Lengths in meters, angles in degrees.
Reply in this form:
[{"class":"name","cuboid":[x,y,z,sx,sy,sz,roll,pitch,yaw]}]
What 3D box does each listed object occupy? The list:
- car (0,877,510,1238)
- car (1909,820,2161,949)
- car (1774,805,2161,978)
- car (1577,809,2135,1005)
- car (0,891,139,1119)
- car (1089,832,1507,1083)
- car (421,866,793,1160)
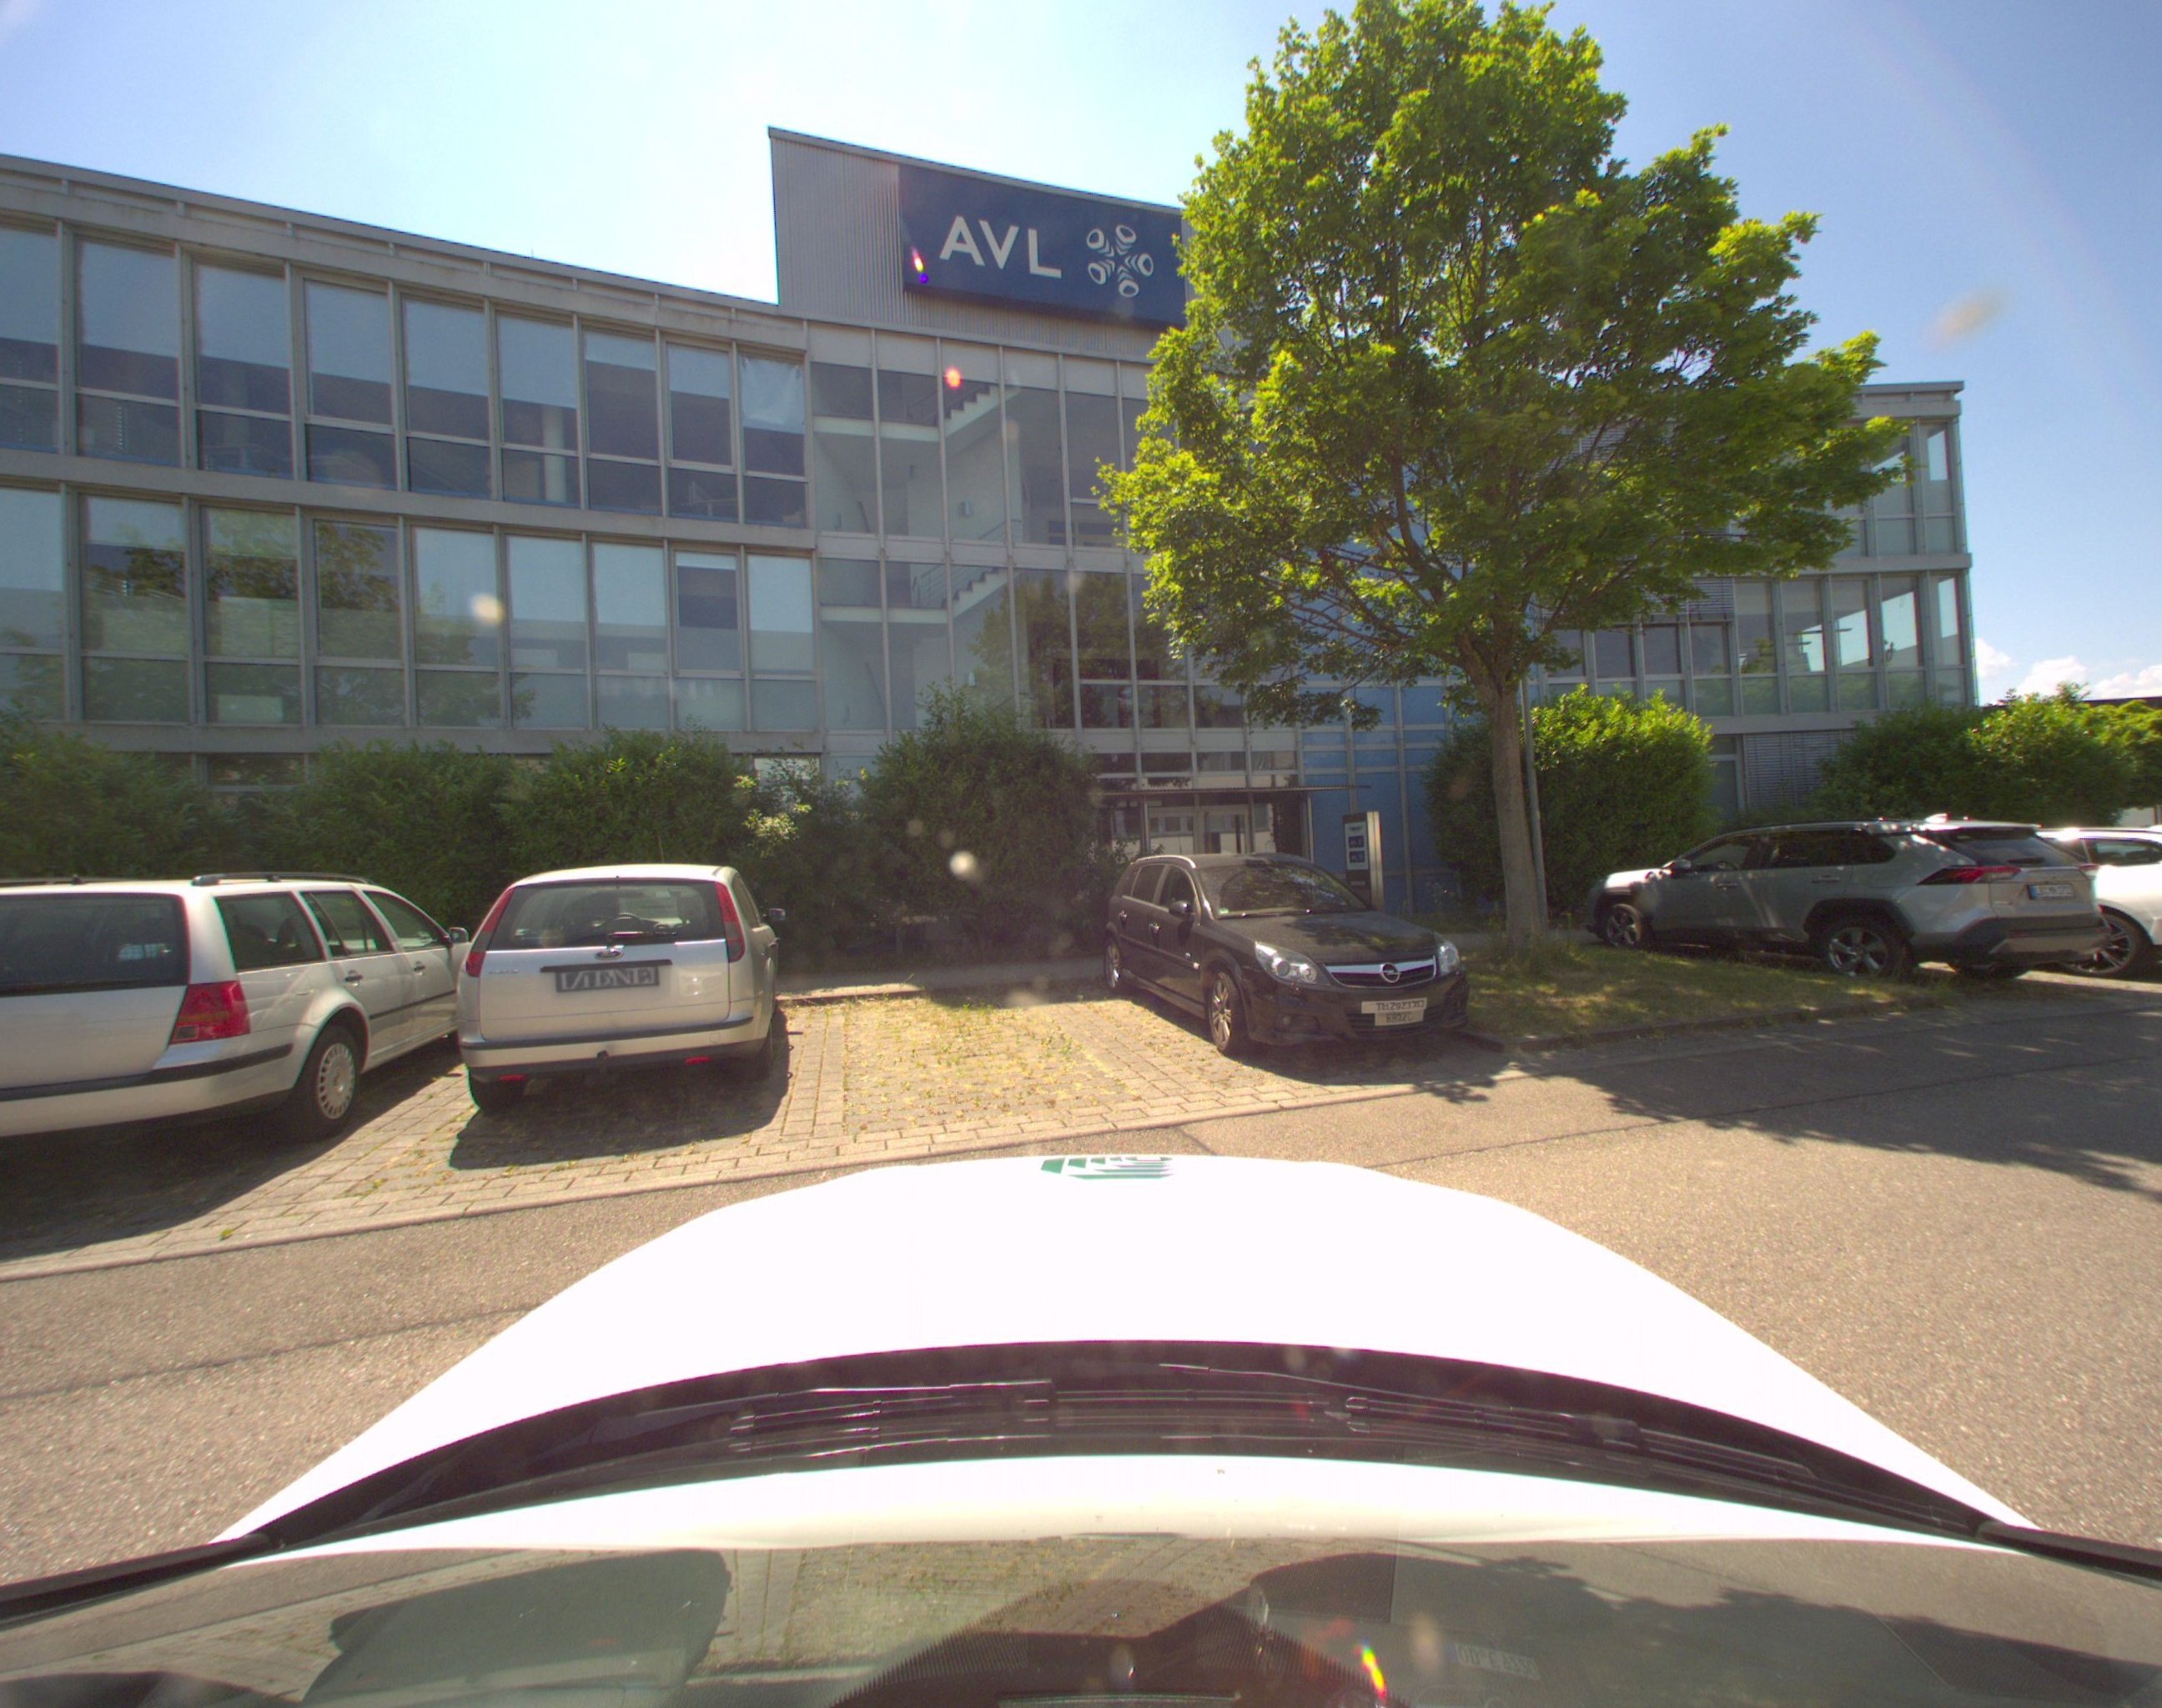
[{"class":"car","cuboid":[-5.243,0.920,5.251,1.654,1.479,3.863,-1,-1,-21]},{"class":"car","cuboid":[13.241,0.330,9.940,1.656,1.486,4.161,-2,0,-12]},{"class":"car","cuboid":[10.773,0.337,9.323,1.656,1.643,4.186,-2,0,-12]},{"class":"car","cuboid":[8.162,0.436,9.266,1.852,1.643,4.315,-2,0,-12]},{"class":"car","cuboid":[-7.525,0.991,4.334,1.654,1.448,3.863,-1,-1,-21]},{"class":"car","cuboid":[1.499,0.690,7.560,1.760,1.549,4.543,-2,-1,-14]},{"class":"car","cuboid":[-3.312,0.880,6.595,1.724,1.479,4.321,-1,-1,-19]}]
